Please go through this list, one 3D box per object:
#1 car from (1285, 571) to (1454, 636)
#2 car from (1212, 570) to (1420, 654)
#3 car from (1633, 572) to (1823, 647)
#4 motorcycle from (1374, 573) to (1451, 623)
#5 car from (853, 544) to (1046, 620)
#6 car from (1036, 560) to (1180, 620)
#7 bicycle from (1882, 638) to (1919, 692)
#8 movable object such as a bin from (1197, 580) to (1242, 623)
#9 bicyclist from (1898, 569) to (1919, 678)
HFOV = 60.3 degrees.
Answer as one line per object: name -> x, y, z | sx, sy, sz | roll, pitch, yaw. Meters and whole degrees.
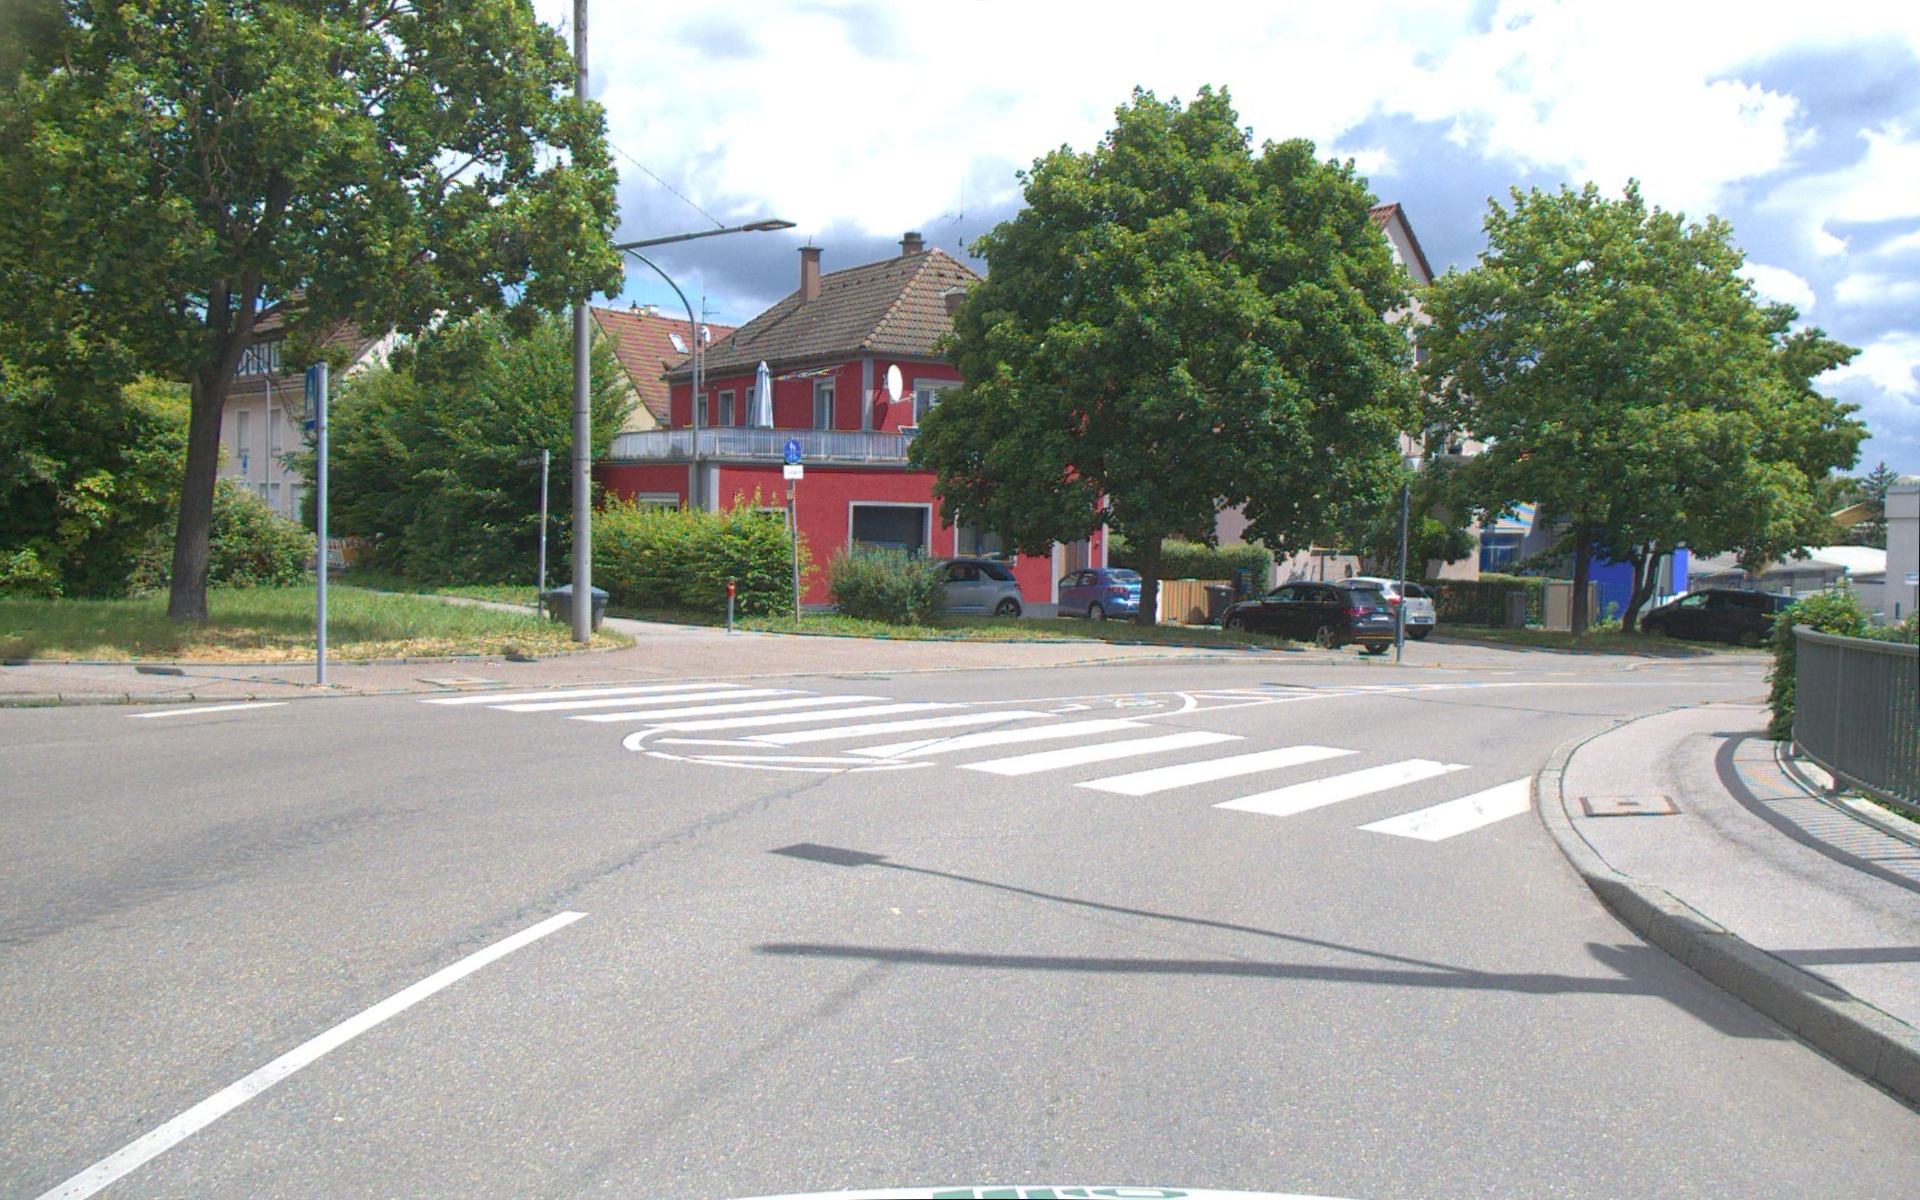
car -> 10.340, 0.069, 41.985 | 1.855, 1.428, 3.883 | 3, 1, -36
car -> 7.491, 0.226, 35.167 | 1.974, 1.417, 4.100 | 2, 3, -32
car -> 22.562, 0.248, 48.761 | 1.975, 1.745, 4.663 | 5, 1, -33
motorcycle -> 13.318, -0.053, 48.708 | 2.209, 1.338, 0.910 | 3, 2, -35
car -> -0.212, -0.390, 36.857 | 4.028, 1.450, 1.627 | 2, 3, -34
car -> 3.808, -0.283, 43.099 | 1.819, 1.401, 3.773 | 2, 1, -32
bicycle -> 16.875, 1.146, 28.642 | 2.075, 0.893, 0.682 | 3, -1, -33
movable object such as a bin -> 7.003, 0.030, 44.661 | 0.868, 1.079, 0.751 | 3, 2, -29
bicyclist -> 16.888, 0.429, 28.636 | 1.067, 1.857, 0.679 | 3, -1, -33
